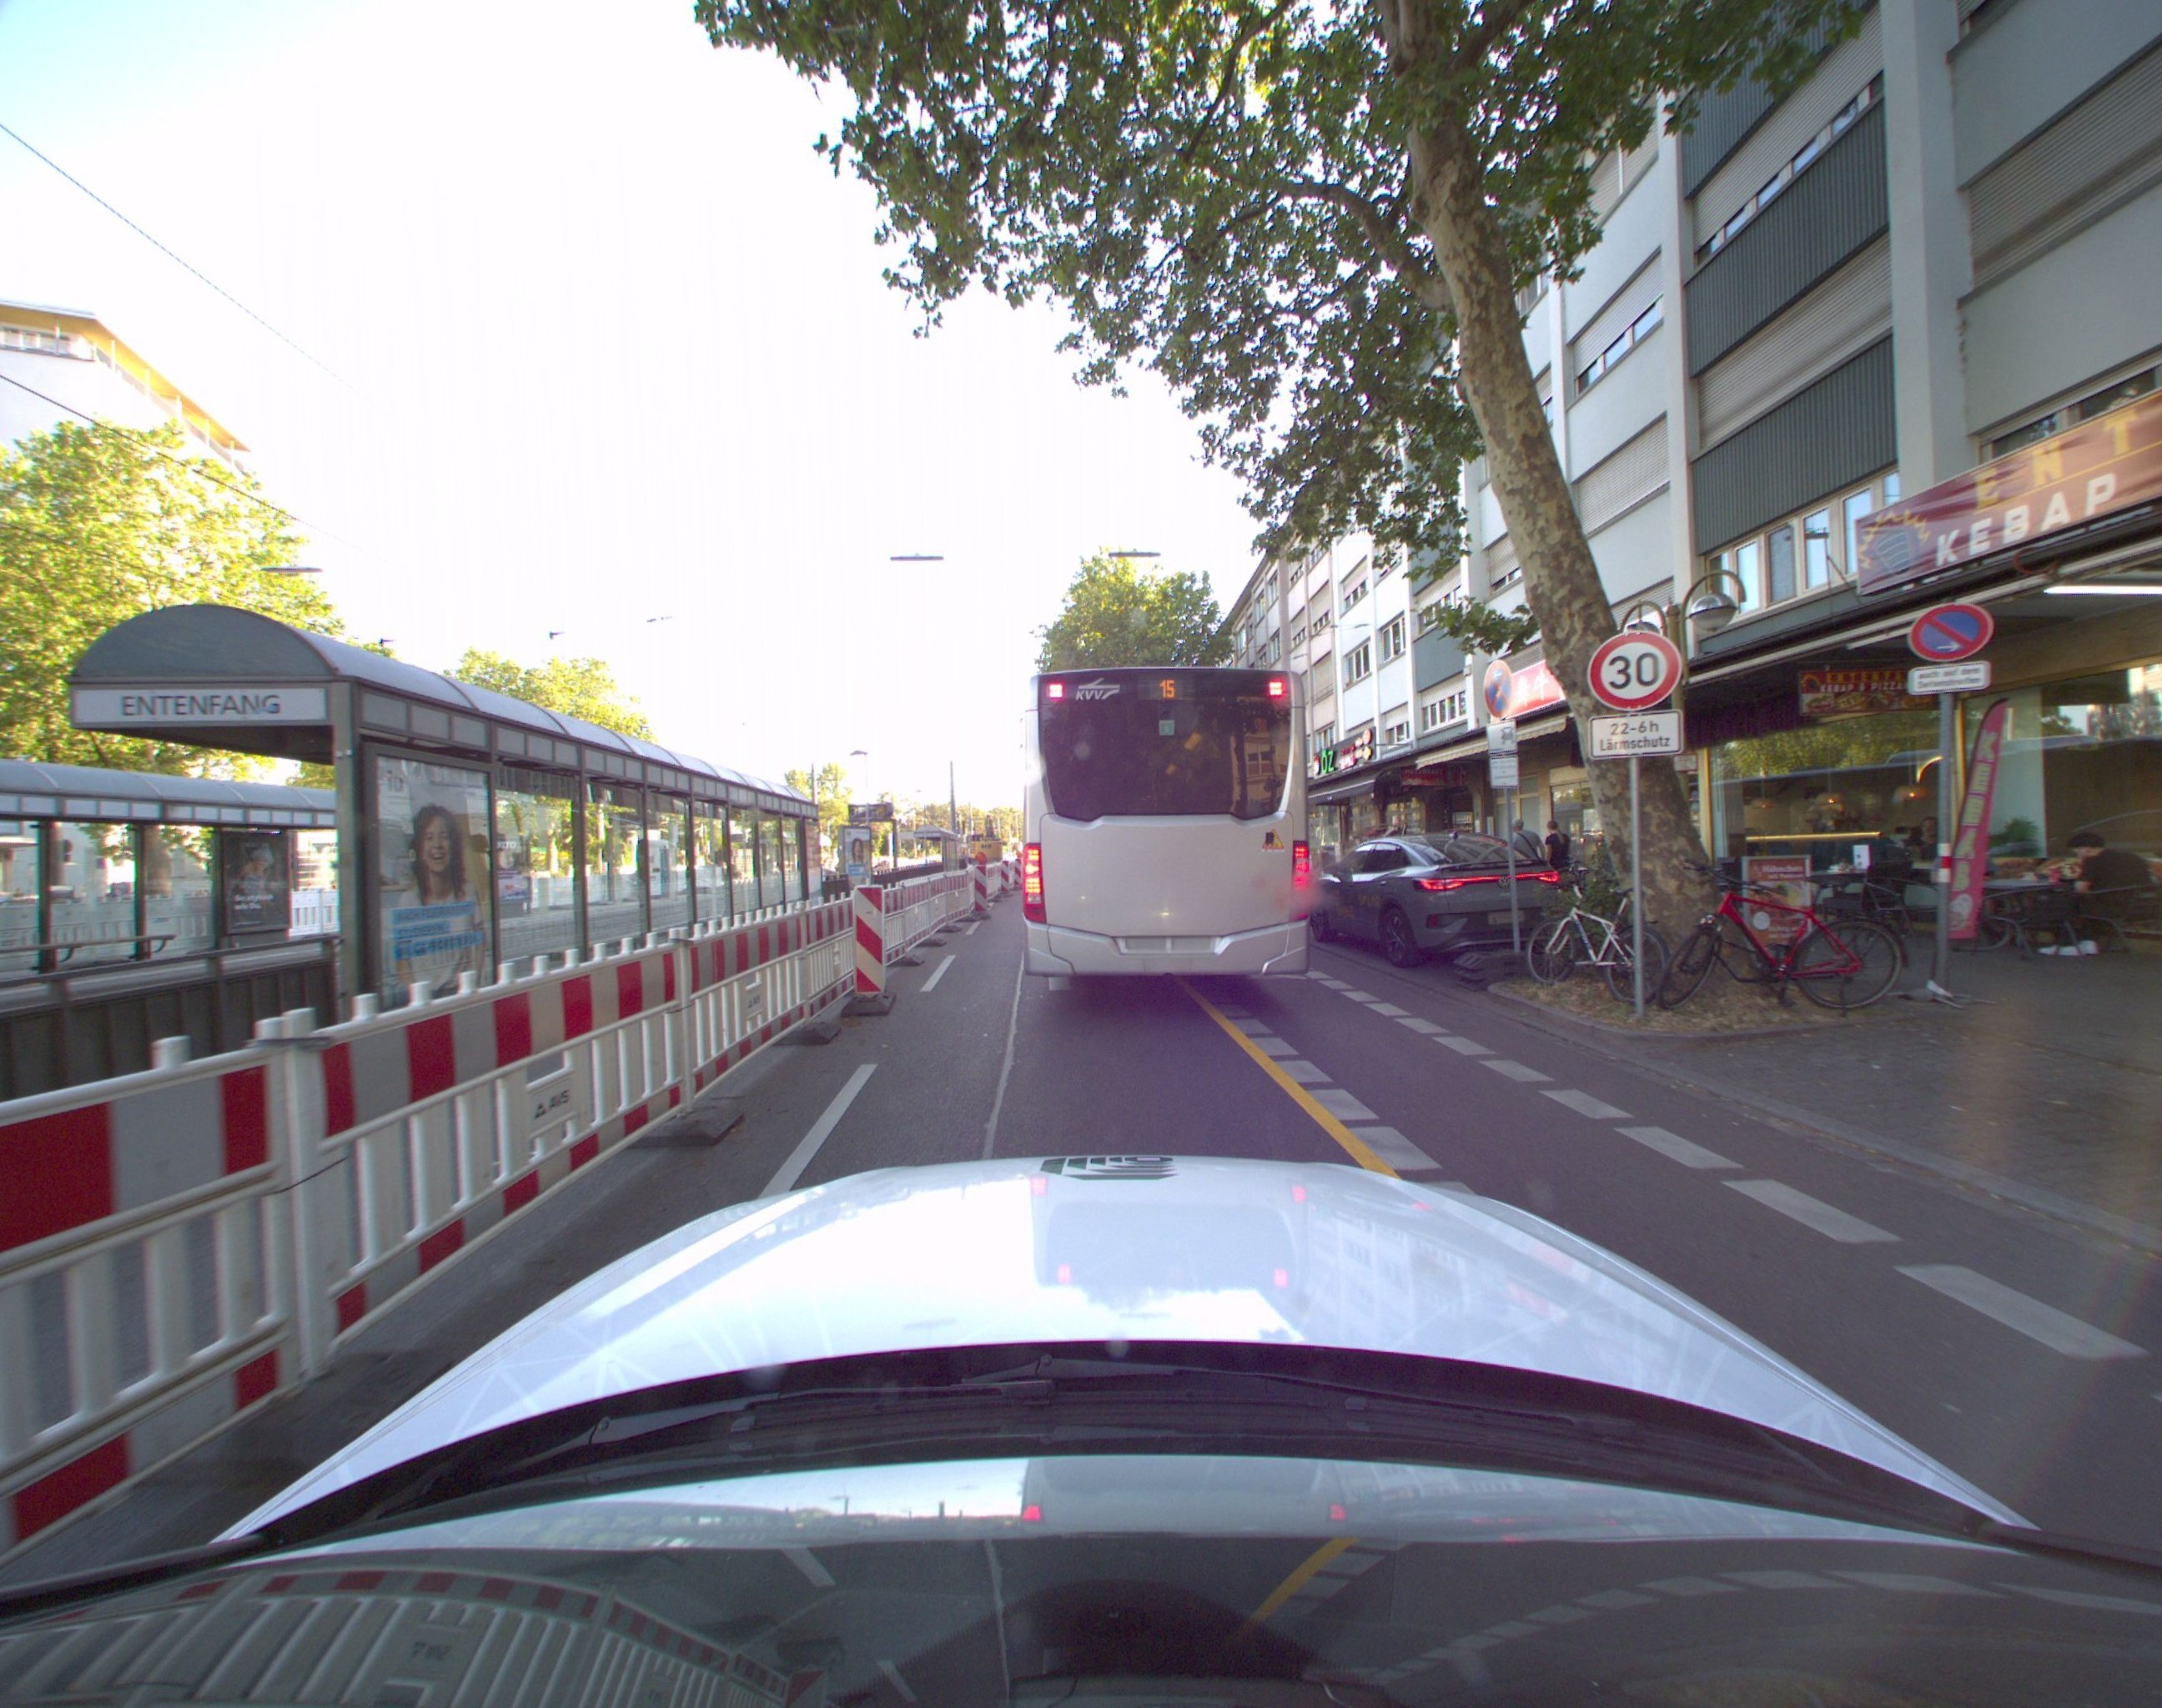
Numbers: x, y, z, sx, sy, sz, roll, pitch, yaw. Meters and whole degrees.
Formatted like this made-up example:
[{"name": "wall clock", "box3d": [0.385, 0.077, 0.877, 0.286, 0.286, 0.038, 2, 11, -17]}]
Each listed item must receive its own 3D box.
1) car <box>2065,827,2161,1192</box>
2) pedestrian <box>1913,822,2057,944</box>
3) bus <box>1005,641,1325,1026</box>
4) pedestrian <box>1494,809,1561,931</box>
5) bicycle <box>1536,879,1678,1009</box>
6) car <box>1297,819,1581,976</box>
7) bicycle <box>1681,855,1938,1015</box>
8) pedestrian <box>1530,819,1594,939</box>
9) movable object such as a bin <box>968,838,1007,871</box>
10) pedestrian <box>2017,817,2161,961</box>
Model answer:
[{"name": "car", "box3d": [5.161, 0.570, 1.600, 1.662, 1.429, 3.843, -4, 0, -3]}, {"name": "pedestrian", "box3d": [9.611, 0.300, 8.692, 0.673, 1.203, 0.706, -5, -1, 11]}, {"name": "bus", "box3d": [0.903, -0.175, 11.967, 2.598, 3.169, 10.297, -1, 0, 2]}, {"name": "pedestrian", "box3d": [7.642, 0.265, 13.952, 0.689, 2.013, 0.696, -2, 0, -2]}, {"name": "bicycle", "box3d": [4.479, 0.726, 7.006, 0.294, 0.927, 1.127, -7, 3, -9]}, {"name": "car", "box3d": [4.540, 0.472, 11.154, 1.736, 1.597, 4.294, -4, 0, -3]}, {"name": "bicycle", "box3d": [5.497, 0.620, 6.193, 1.450, 1.066, 0.297, -6, 3, 12]}, {"name": "pedestrian", "box3d": [8.332, 0.426, 14.138, 0.611, 2.013, 0.695, -2, 0, -5]}, {"name": "movable object such as a bin", "box3d": [-7.395, 0.052, 64.746, 2.801, 2.461, 3.995, -2, 0, -4]}, {"name": "pedestrian", "box3d": [9.555, 0.314, 7.655, 0.612, 1.243, 0.713, -5, -1, 10]}]
